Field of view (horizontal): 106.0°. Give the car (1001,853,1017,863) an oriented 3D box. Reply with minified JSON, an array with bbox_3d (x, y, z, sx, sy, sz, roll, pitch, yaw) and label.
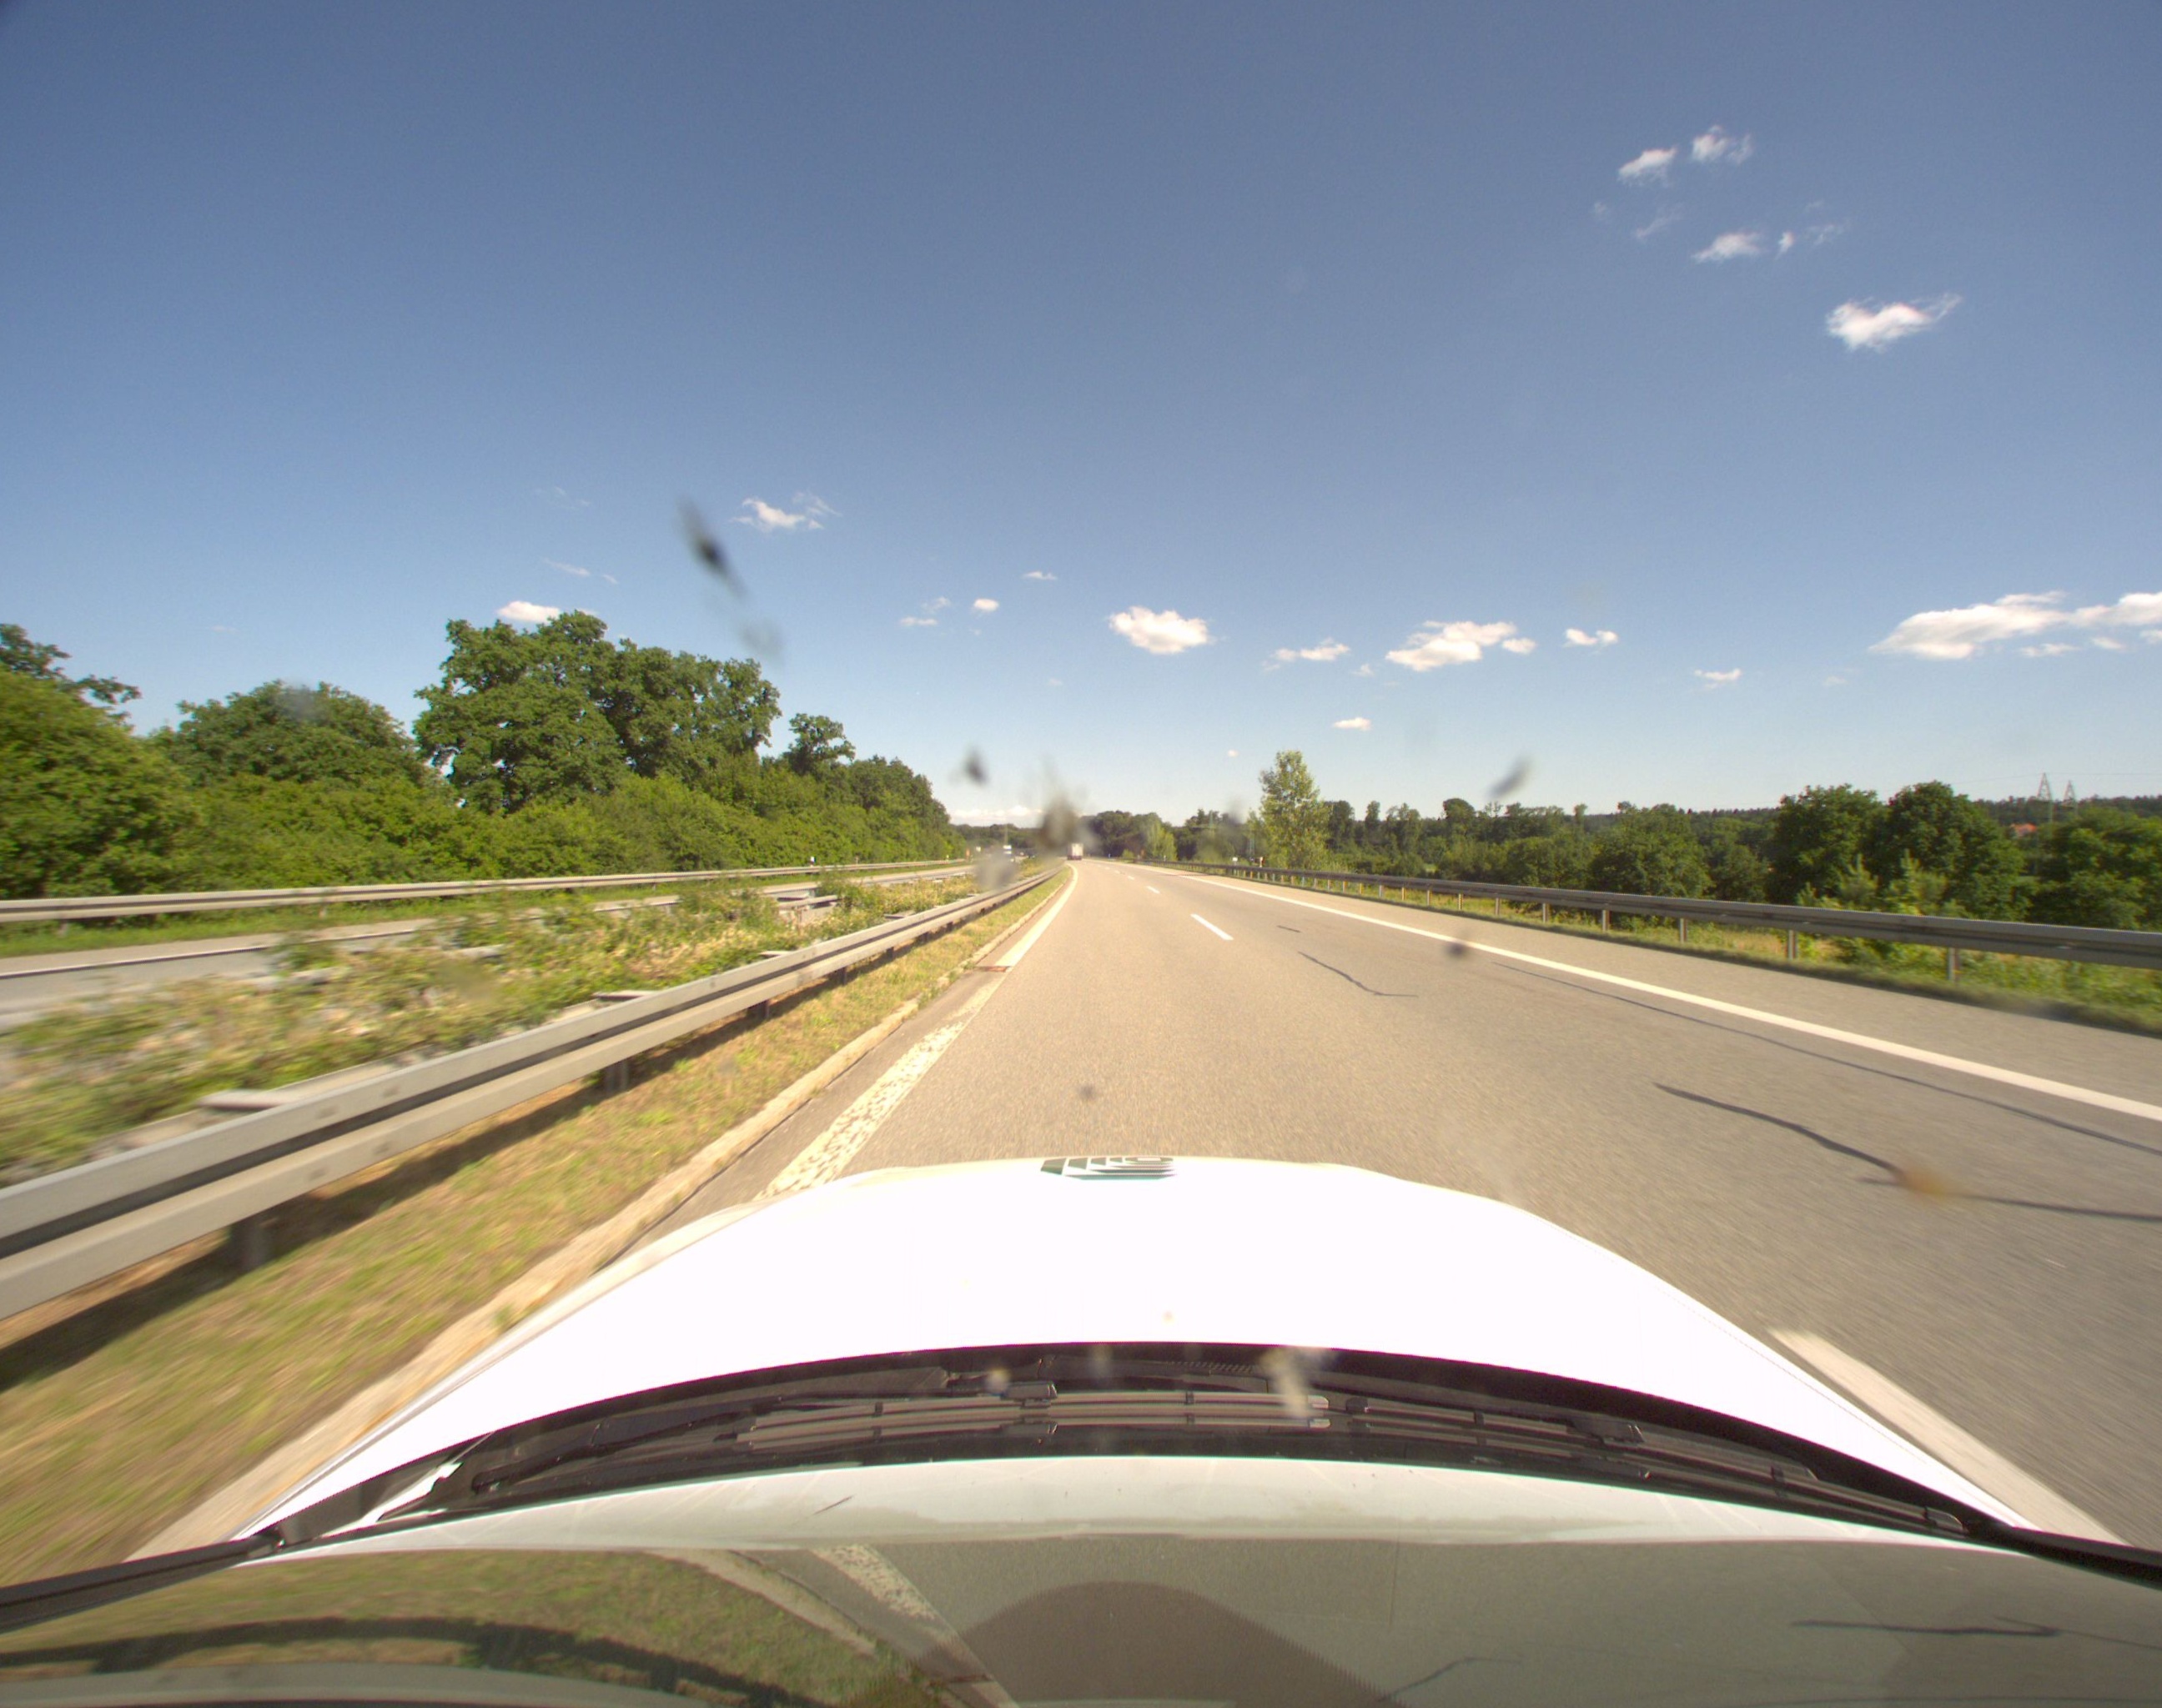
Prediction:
[{"bbox_3d":[-10.871,0.623,122.863,1.988,1.432,4.485,-1,0,-1],"label":"car"}]

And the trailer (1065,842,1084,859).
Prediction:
[{"bbox_3d":[-1.624,-0.883,195.931,2.883,4.066,12.385,-1,0,-8],"label":"trailer"}]

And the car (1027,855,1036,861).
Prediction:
[{"bbox_3d":[-11.612,0.867,191.744,1.729,1.428,3.867,-1,0,-10],"label":"car"}]

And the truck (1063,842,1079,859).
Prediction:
[{"bbox_3d":[-2.475,-0.830,201.790,2.830,4.012,6.565,-1,0,-10],"label":"truck"}]
